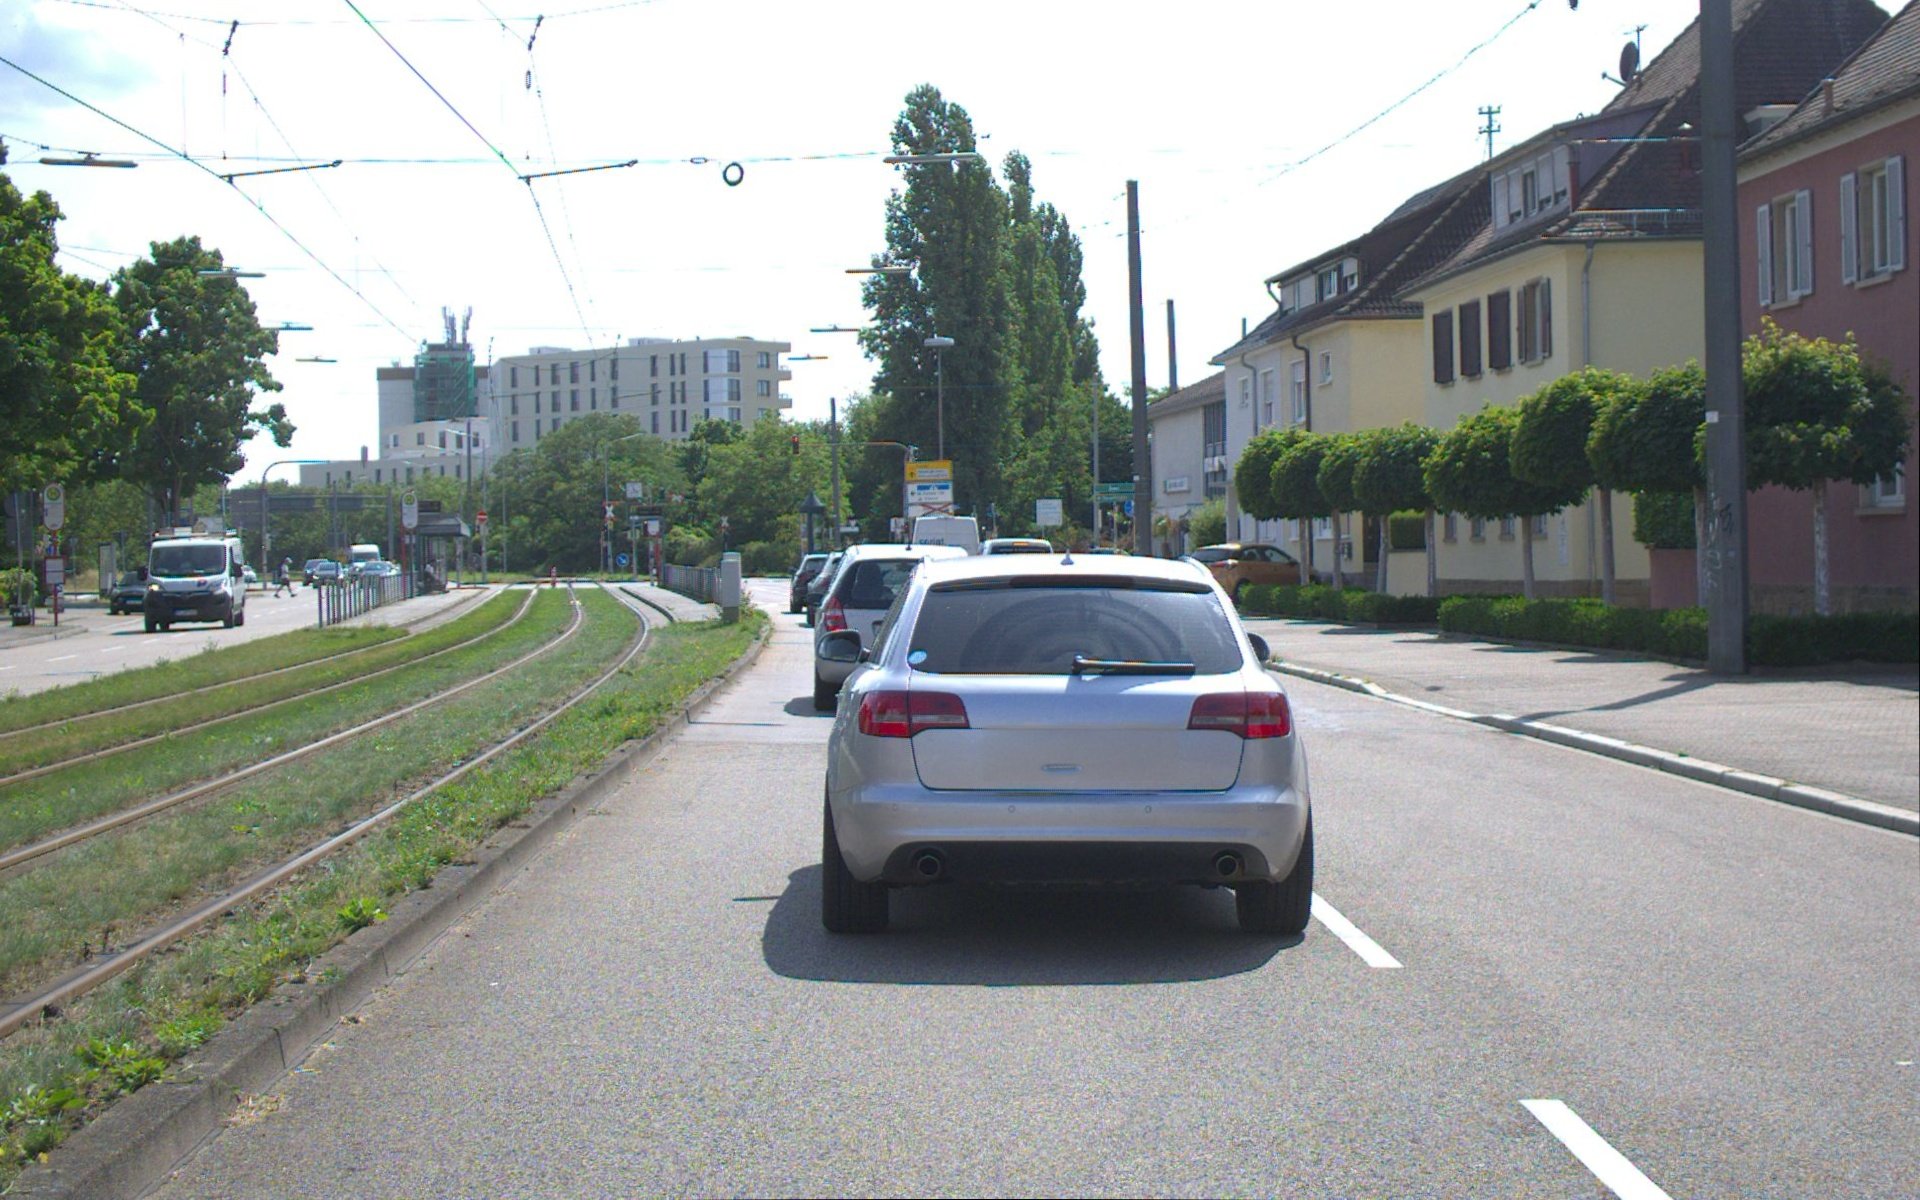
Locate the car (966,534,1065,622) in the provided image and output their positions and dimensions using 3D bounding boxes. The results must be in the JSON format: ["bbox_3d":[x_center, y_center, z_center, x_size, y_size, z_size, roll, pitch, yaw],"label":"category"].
[{"bbox_3d":[1.186,-0.484,71.546,1.885,1.725,4.094,-1,1,3],"label":"car"}]

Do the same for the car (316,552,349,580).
[{"bbox_3d":[-36.432,-1.975,199.695,1.862,1.645,4.001,0,1,-10],"label":"car"}]

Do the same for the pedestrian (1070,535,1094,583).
[{"bbox_3d":[4.677,-1.577,132.025,0.721,1.776,0.703,-4,1,-4],"label":"pedestrian"}]

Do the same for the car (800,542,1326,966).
[{"bbox_3d":[0.435,0.510,14.437,1.854,1.487,4.536,0,1,2],"label":"car"}]

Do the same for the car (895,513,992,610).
[{"bbox_3d":[-0.483,-1.082,94.161,2.040,2.549,5.232,-1,1,-7],"label":"car"}]

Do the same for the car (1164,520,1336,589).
[{"bbox_3d":[6.929,-1.100,81.993,1.914,1.453,4.083,1,4,44],"label":"car"}]

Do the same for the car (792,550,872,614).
[{"bbox_3d":[-3.123,-0.452,84.407,1.885,1.525,4.094,0,1,-1],"label":"car"}]

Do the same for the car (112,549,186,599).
[{"bbox_3d":[-26.838,-0.876,113.893,1.786,1.578,3.931,-1,1,-4],"label":"car"}]

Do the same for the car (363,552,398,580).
[{"bbox_3d":[-32.290,-1.876,191.397,1.896,1.536,3.730,0,1,-10],"label":"car"}]

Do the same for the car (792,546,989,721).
[{"bbox_3d":[-0.663,0.276,33.642,1.787,1.571,4.095,1,1,-1],"label":"car"}]

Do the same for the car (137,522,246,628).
[{"bbox_3d":[-18.451,-0.606,82.728,2.196,2.364,5.334,-3,1,-10],"label":"car"}]
